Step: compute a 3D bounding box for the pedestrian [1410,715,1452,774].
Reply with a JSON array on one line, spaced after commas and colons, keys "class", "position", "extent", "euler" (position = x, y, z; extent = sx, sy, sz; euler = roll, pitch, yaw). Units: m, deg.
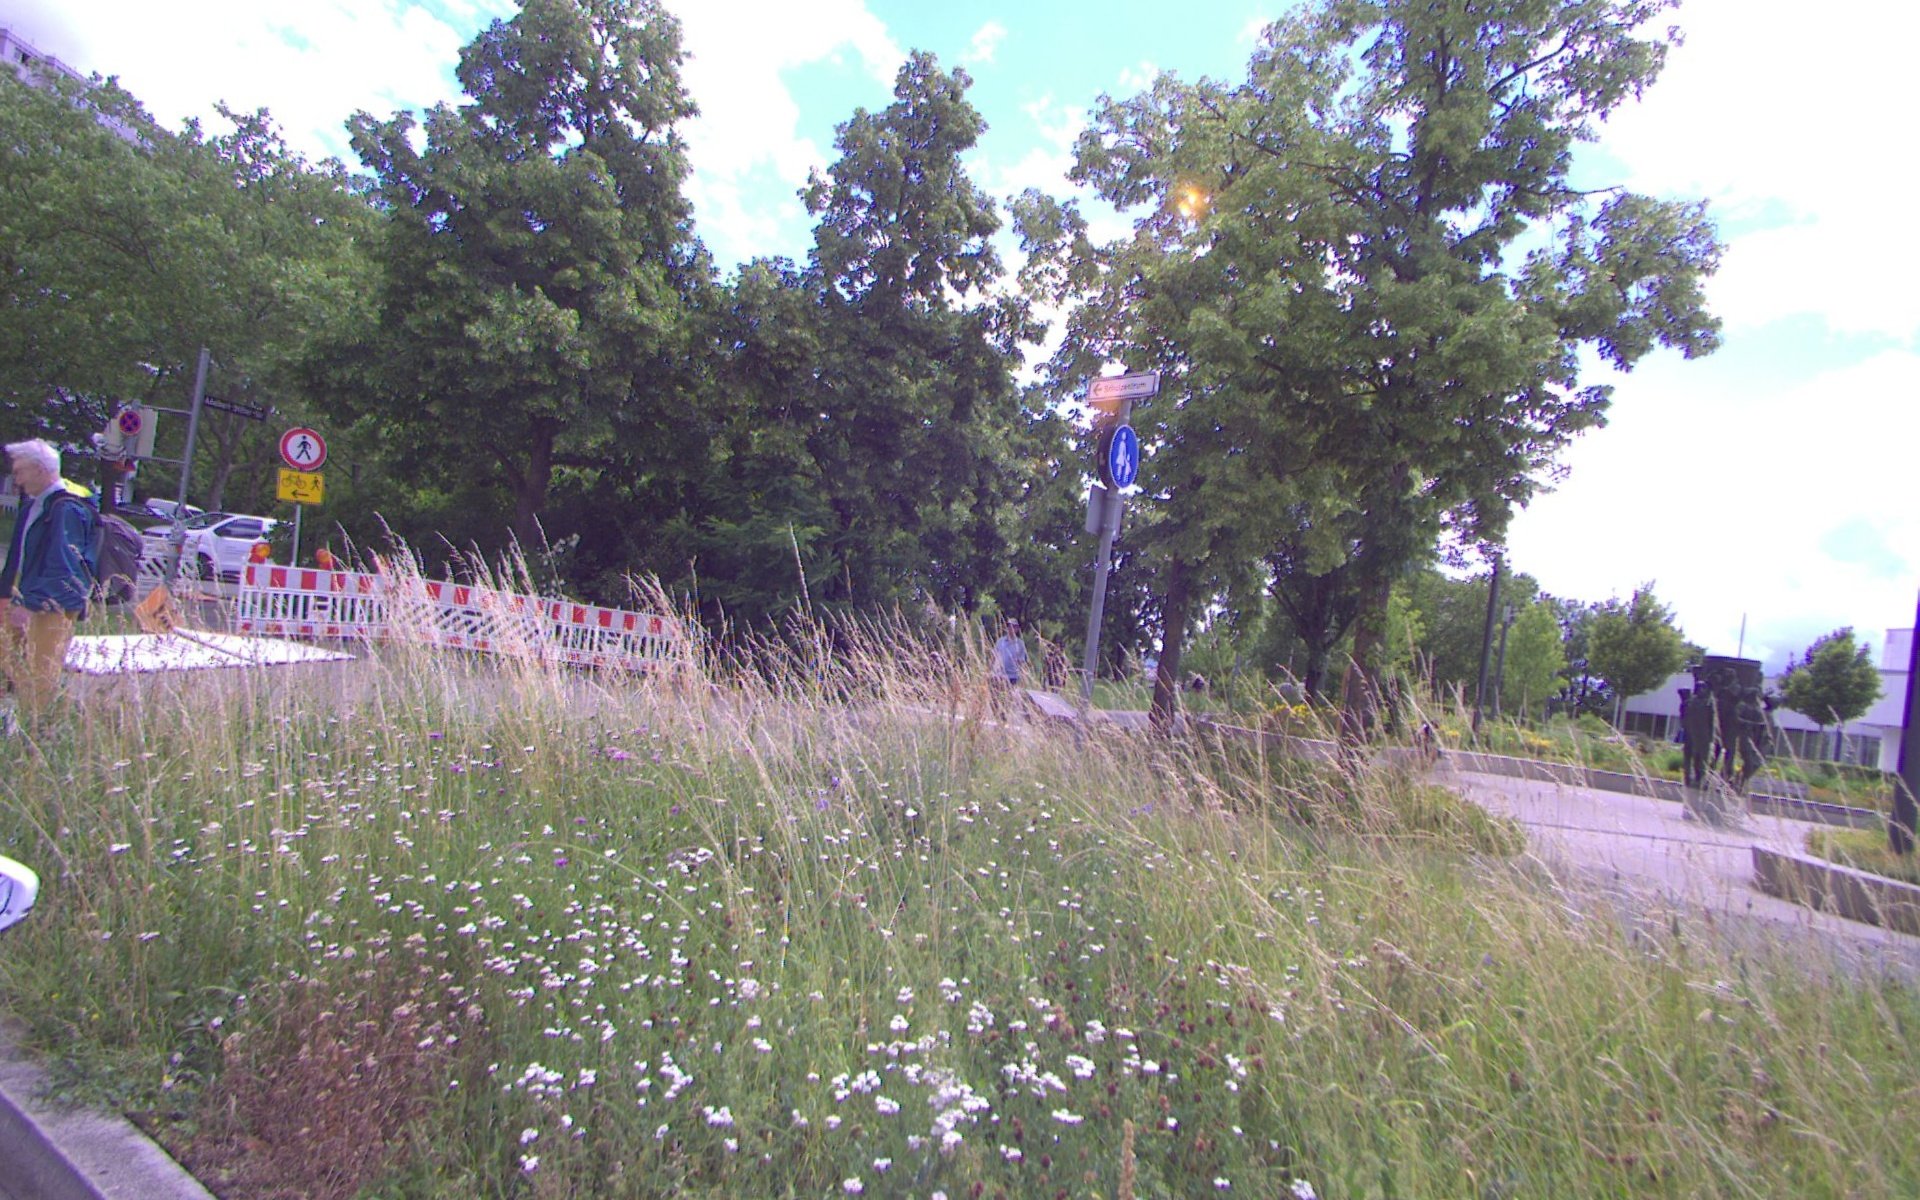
[{"class": "pedestrian", "position": [10.821, 3.319, 23.107], "extent": [0.623, 1.236, 0.618], "euler": [7, -1, 36]}]

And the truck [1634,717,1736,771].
[{"class": "truck", "position": [37.314, 7.401, 51.915], "extent": [1.965, 2.037, 3.999], "euler": [8, -1, -4]}]

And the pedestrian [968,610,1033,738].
[{"class": "pedestrian", "position": [0.640, 1.148, 15.754], "extent": [0.757, 1.862, 0.765], "euler": [7, -1, 5]}]

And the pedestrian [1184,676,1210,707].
[{"class": "pedestrian", "position": [13.813, 5.328, 58.614], "extent": [1.135, 1.571, 0.818], "euler": [8, -1, -2]}]

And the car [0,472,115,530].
[{"class": "car", "position": [-43.697, -4.777, 48.568], "extent": [3.926, 2.037, 2.001], "euler": [8, -1, 0]}]

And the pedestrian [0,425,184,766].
[{"class": "pedestrian", "position": [-5.274, -0.034, 5.844], "extent": [1.005, 1.795, 0.939], "euler": [8, -1, -37]}]

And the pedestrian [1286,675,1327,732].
[{"class": "pedestrian", "position": [13.635, 4.076, 39.575], "extent": [1.137, 2.037, 0.817], "euler": [8, 0, 30]}]

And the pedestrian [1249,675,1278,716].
[{"class": "pedestrian", "position": [13.394, 4.235, 44.420], "extent": [0.872, 1.681, 0.817], "euler": [8, -1, 30]}]

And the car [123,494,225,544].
[{"class": "car", "position": [-44.245, -4.528, 56.688], "extent": [3.926, 2.037, 2.001], "euler": [8, -1, 0]}]

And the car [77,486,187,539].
[{"class": "car", "position": [-43.791, -4.601, 53.284], "extent": [3.926, 2.037, 2.001], "euler": [8, -1, 0]}]

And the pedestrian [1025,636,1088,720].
[{"class": "pedestrian", "position": [2.062, 1.670, 21.418], "extent": [0.879, 1.647, 0.817], "euler": [8, -1, 30]}]

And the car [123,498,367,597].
[{"class": "car", "position": [-19.722, -1.384, 28.047], "extent": [1.915, 1.895, 5.090], "euler": [7, -2, 28]}]

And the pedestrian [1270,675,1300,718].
[{"class": "pedestrian", "position": [14.169, 4.219, 43.807], "extent": [0.879, 1.732, 0.817], "euler": [8, -1, 30]}]
